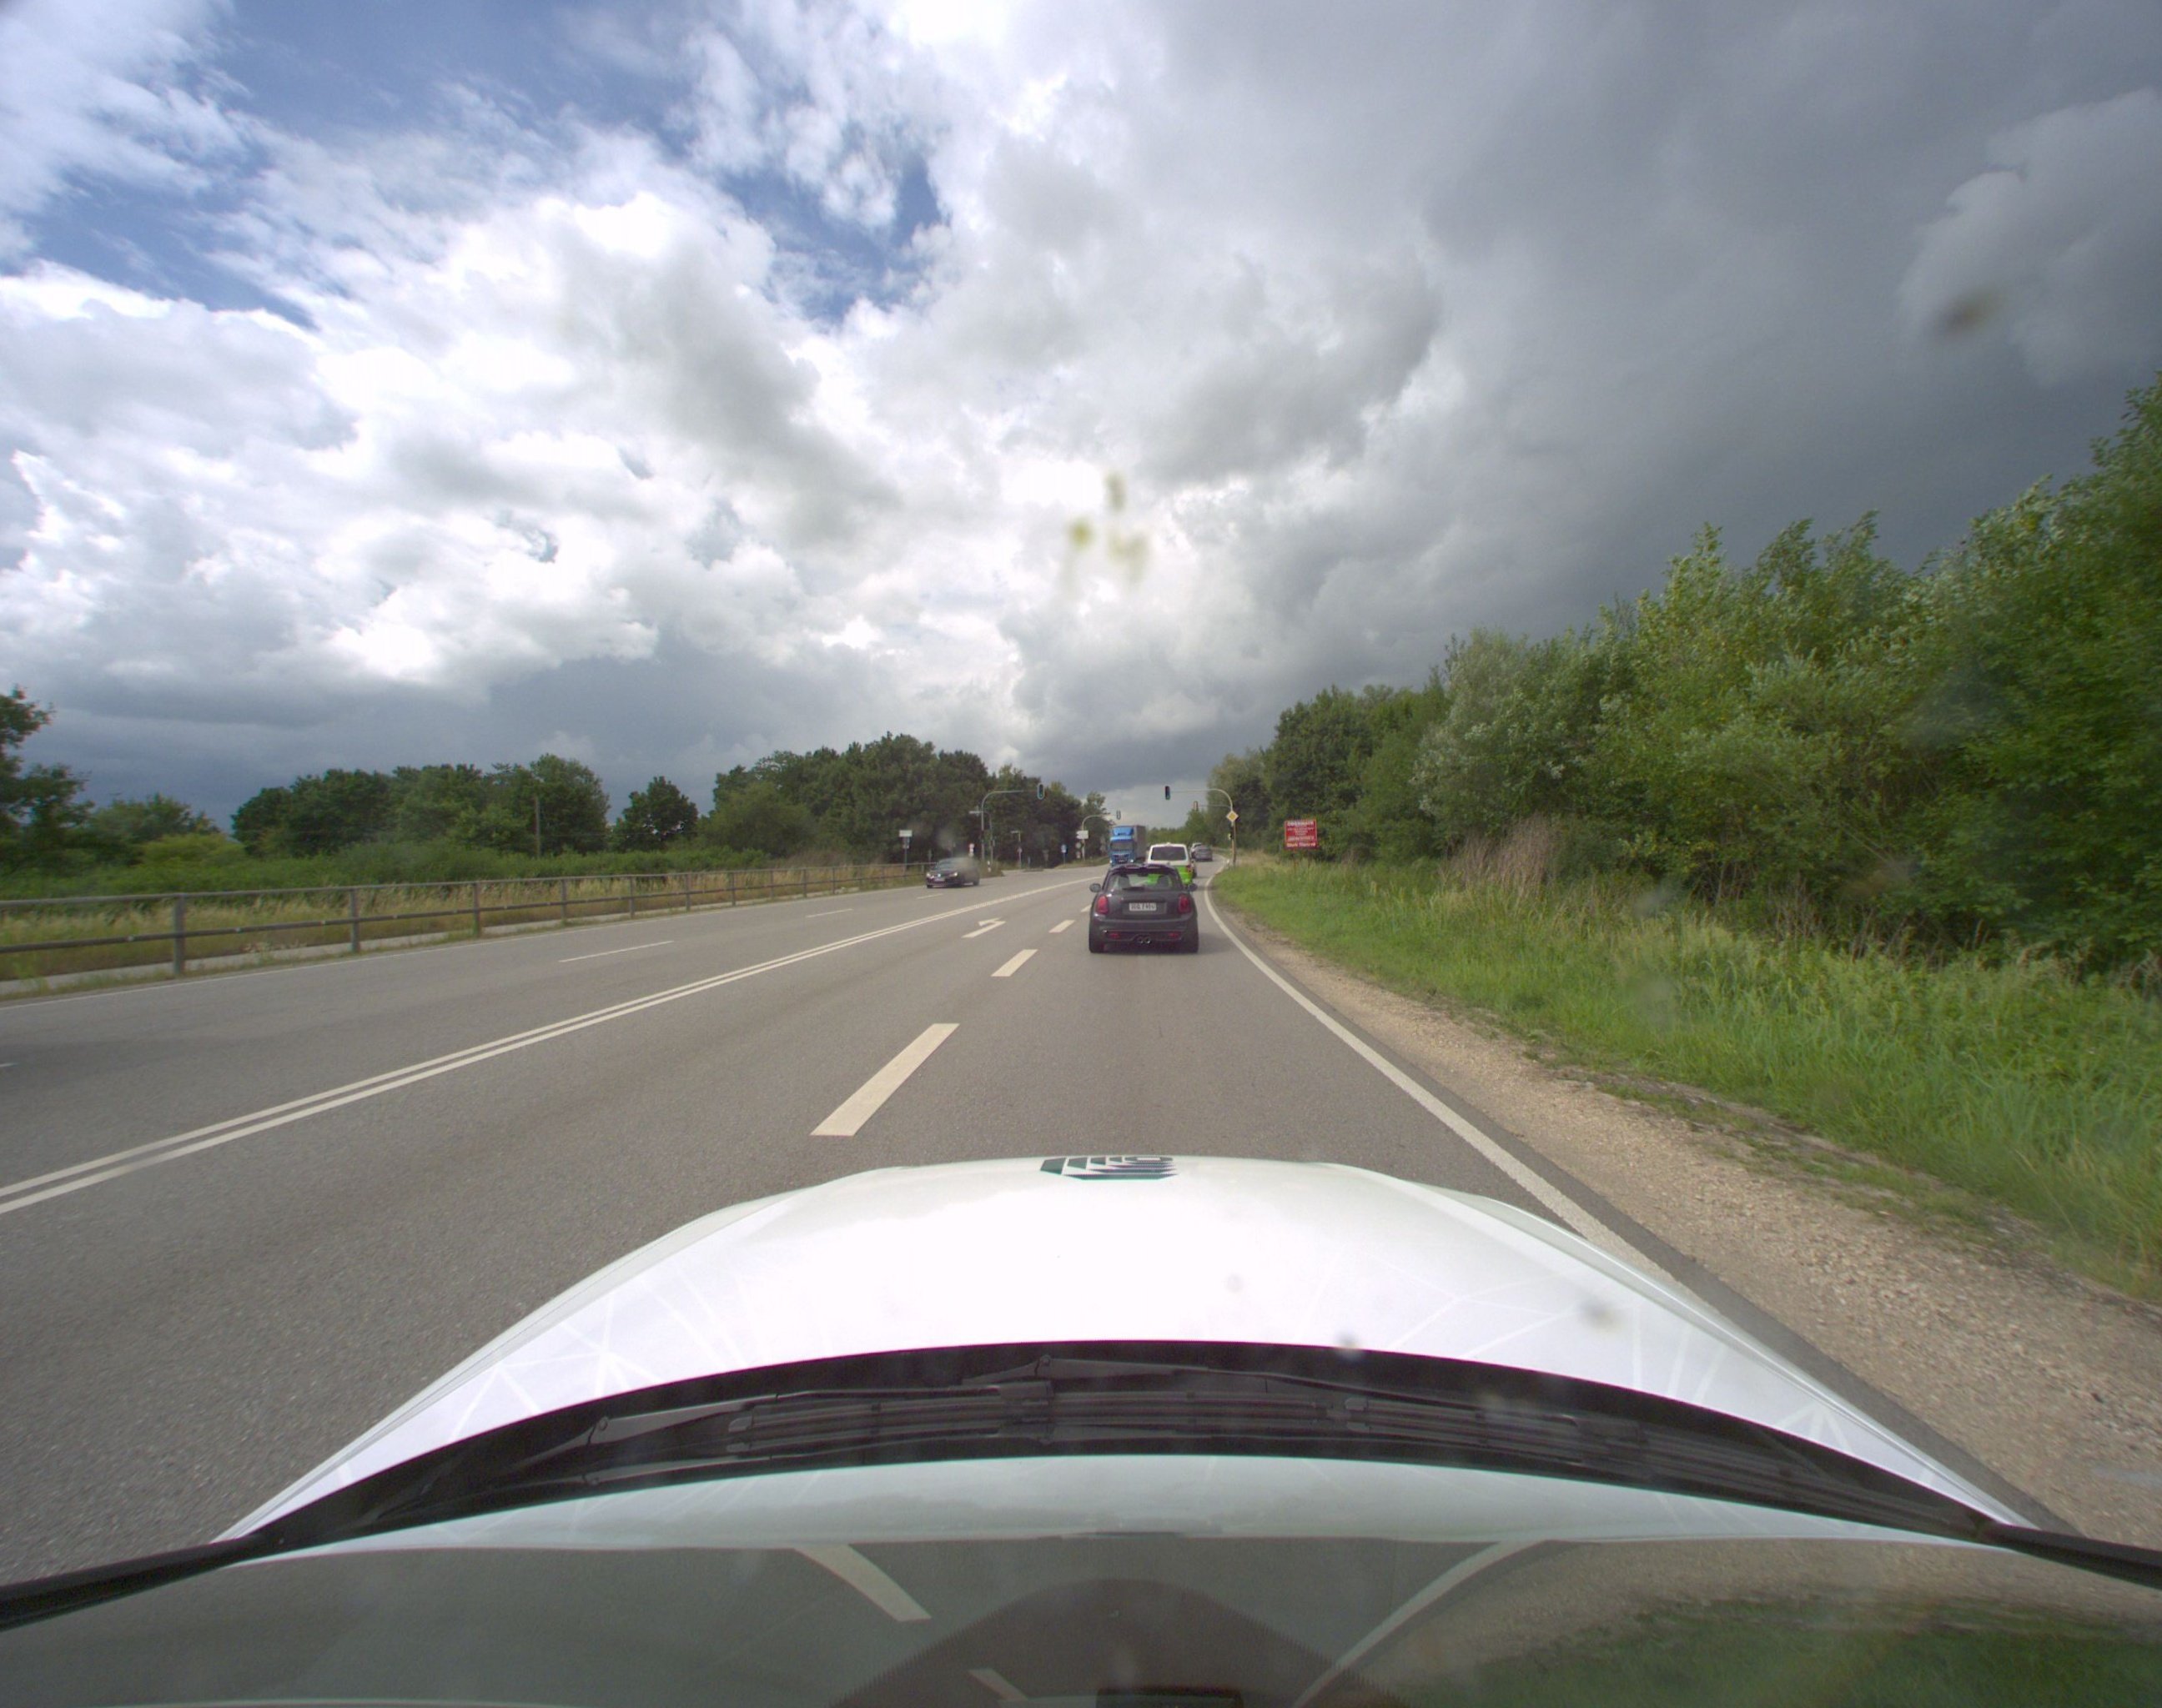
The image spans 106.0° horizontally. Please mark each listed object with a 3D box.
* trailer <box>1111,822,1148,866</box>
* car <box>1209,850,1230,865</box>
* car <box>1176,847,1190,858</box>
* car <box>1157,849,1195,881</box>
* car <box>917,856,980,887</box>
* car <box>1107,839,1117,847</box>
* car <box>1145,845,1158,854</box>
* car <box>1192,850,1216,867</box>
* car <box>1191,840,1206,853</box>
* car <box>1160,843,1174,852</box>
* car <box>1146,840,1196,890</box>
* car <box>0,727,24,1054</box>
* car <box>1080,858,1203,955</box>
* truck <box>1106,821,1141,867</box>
[{"bbox_3d":[4.829,-0.917,79.956,2.511,4.101,6.757,-1,0,12],"label":"trailer"},{"bbox_3d":[16.703,0.474,97.920,1.978,1.684,3.994,0,-2,17],"label":"car"},{"bbox_3d":[17.685,-0.263,140.948,1.986,1.684,4.001,0,-2,1],"label":"car"},{"bbox_3d":[5.459,0.614,46.419,1.982,1.684,4.009,-1,0,8],"label":"car"},{"bbox_3d":[-6.446,0.817,40.178,1.935,1.441,4.009,-1,0,8],"label":"car"},{"bbox_3d":[6.961,-2.579,182.829,1.988,1.690,3.998,-2,1,-1],"label":"car"},{"bbox_3d":[15.023,-0.914,173.582,1.991,1.695,4.476,-1,0,-6],"label":"car"},{"bbox_3d":[12.864,0.471,84.827,1.979,1.684,4.016,0,-2,15],"label":"car"},{"bbox_3d":[17.353,-1.110,120.465,1.983,1.684,4.006,0,-2,6],"label":"car"},{"bbox_3d":[16.462,-1.221,156.446,1.990,1.695,4.479,-1,0,-4],"label":"car"},{"bbox_3d":[3.923,0.454,34.971,1.833,1.987,3.852,-1,0,10],"label":"car"},{"bbox_3d":[-10.152,0.292,3.375,2.424,2.674,6.891,-1,0,2],"label":"car"},{"bbox_3d":[1.047,0.811,14.264,1.837,1.428,3.845,-1,0,4],"label":"car"},{"bbox_3d":[4.009,-0.922,76.098,2.523,4.096,4.013,-1,0,11],"label":"truck"}]
